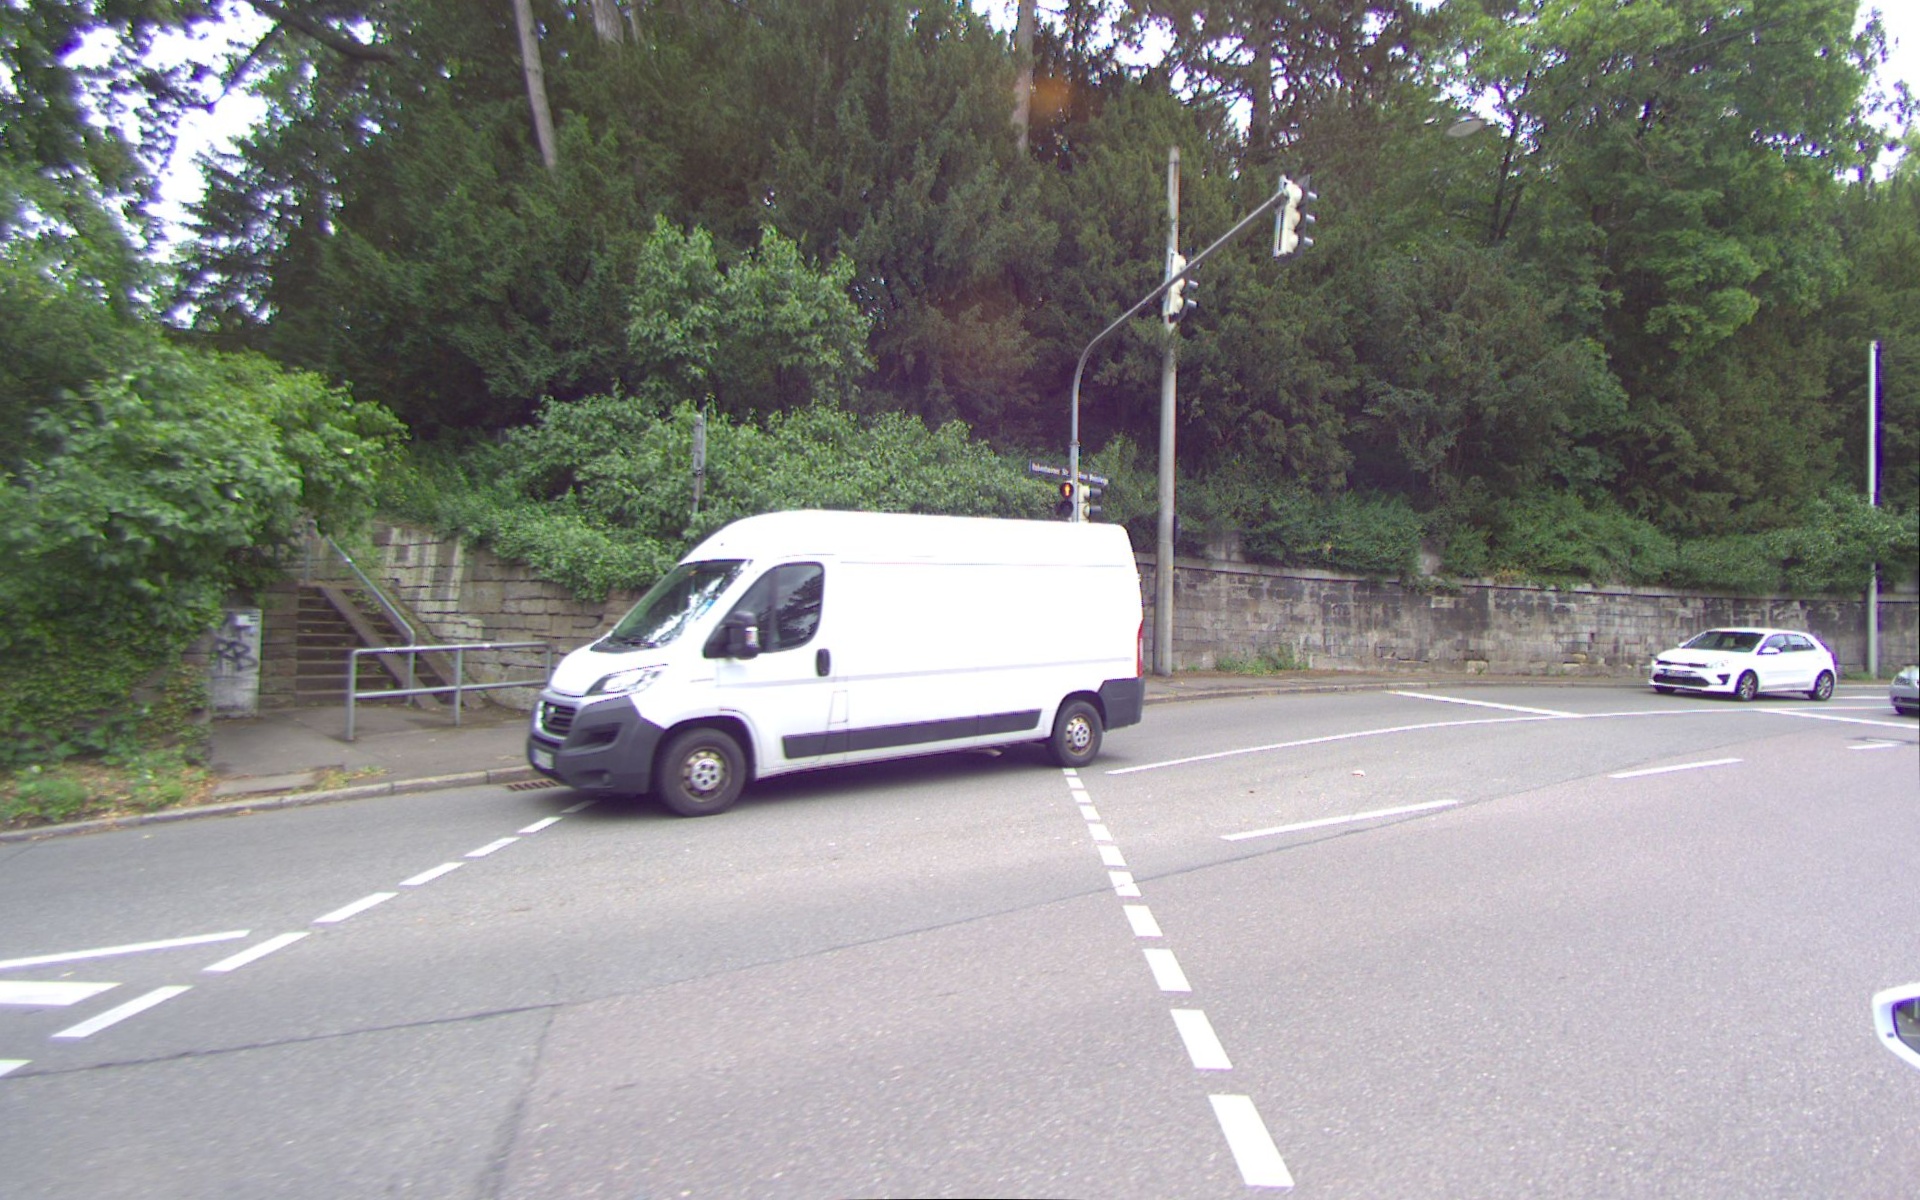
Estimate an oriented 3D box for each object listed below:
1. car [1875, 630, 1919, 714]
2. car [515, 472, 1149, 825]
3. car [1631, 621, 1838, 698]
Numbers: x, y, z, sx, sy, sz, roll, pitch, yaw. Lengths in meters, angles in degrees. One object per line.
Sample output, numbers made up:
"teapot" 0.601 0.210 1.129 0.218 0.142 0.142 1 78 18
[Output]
"car" 19.097 1.328 18.377 4.414 1.462 1.752 1 1 -22
"car" -0.888 0.392 9.588 5.845 2.445 1.978 1 -1 -39
"car" 16.328 1.215 21.166 4.005 1.424 1.635 1 1 -22
